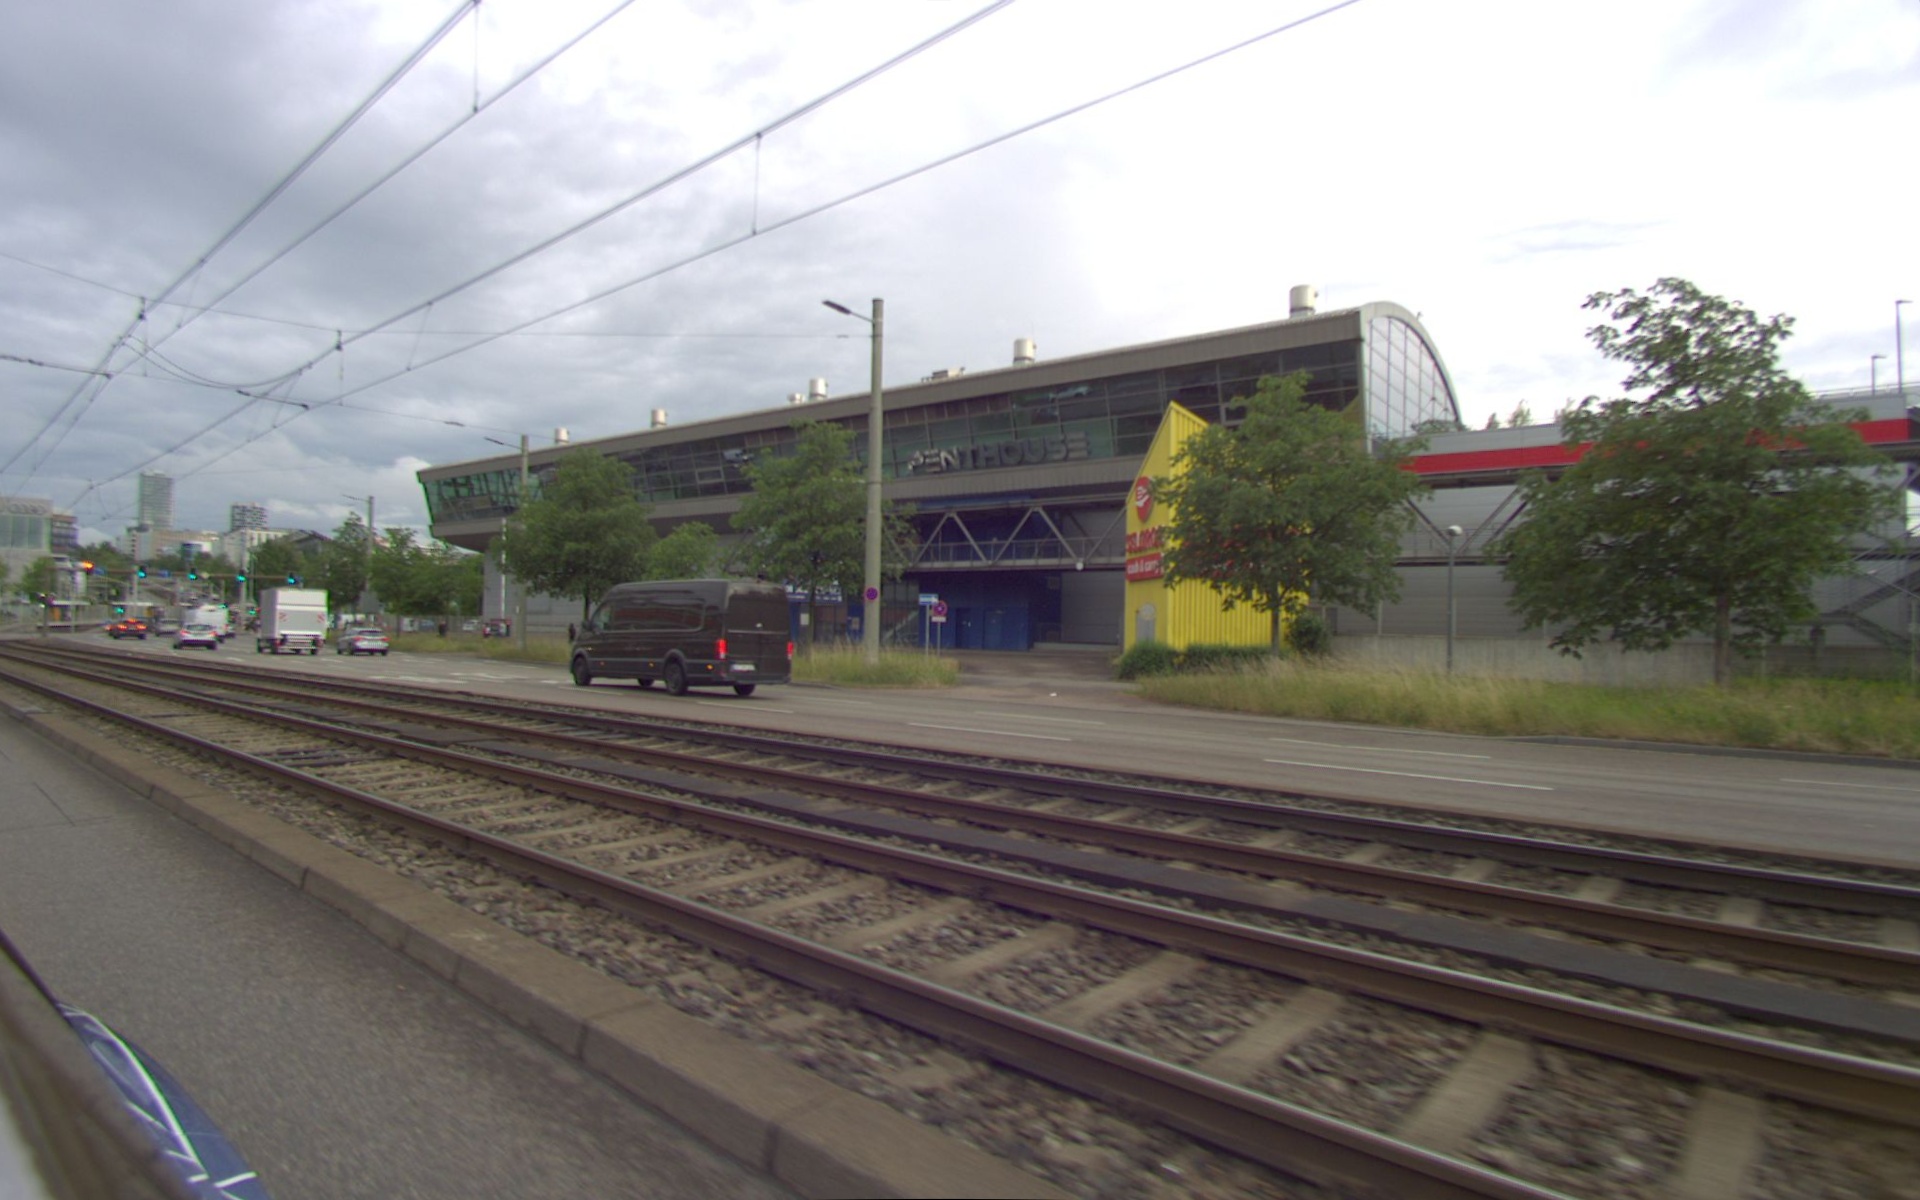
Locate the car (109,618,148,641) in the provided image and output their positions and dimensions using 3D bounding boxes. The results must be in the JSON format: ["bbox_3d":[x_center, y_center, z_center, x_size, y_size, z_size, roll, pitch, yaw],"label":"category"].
[{"bbox_3d":[-65.780,2.344,80.036,1.887,1.669,4.363,5,-4,-45],"label":"car"}]

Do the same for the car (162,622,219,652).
[{"bbox_3d":[-43.094,2.068,56.655,4.442,1.510,1.785,-1,-5,44],"label":"car"}]

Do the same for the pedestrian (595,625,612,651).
[{"bbox_3d":[-20.565,2.169,58.454,0.744,1.450,0.602,-1,0,38],"label":"pedestrian"}]

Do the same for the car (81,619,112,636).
[{"bbox_3d":[-91.463,2.914,107.151,4.679,1.744,1.971,-1,-3,44],"label":"car"}]

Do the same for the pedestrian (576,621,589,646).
[{"bbox_3d":[-23.009,2.041,61.647,0.651,1.467,0.447,-1,0,32],"label":"pedestrian"}]

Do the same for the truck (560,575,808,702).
[{"bbox_3d":[-6.698,0.876,23.857,7.014,2.584,2.214,-1,-4,43],"label":"truck"}]

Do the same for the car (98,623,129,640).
[{"bbox_3d":[-76.303,2.853,91.206,1.924,1.496,5.000,2,-3,-42],"label":"car"}]

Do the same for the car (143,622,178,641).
[{"bbox_3d":[-72.143,2.849,91.327,1.918,1.684,4.511,3,-3,-44],"label":"car"}]

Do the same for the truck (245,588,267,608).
[{"bbox_3d":[-153.088,-0.357,220.122,3.330,4.171,7.652,2,-2,-31],"label":"truck"}]

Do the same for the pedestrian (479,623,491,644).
[{"bbox_3d":[-35.078,2.474,74.742,0.542,1.509,0.758,-1,0,-45],"label":"pedestrian"}]

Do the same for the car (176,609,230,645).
[{"bbox_3d":[-57.195,2.051,76.398,2.404,2.519,6.553,4,-4,-44],"label":"car"}]

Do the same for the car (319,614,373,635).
[{"bbox_3d":[-70.772,2.797,116.752,1.989,2.350,5.020,0,-2,25],"label":"car"}]

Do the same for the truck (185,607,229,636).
[{"bbox_3d":[-101.790,2.944,136.700,4.028,3.785,10.871,2,-3,-40],"label":"truck"}]

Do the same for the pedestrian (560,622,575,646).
[{"bbox_3d":[-23.748,2.058,61.261,0.651,1.467,0.507,-1,0,32],"label":"pedestrian"}]

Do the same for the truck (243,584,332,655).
[{"bbox_3d":[-35.052,1.075,52.660,2.694,3.383,7.161,4,-4,-42],"label":"truck"}]

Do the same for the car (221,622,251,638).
[{"bbox_3d":[-64.727,2.653,90.401,1.726,1.410,4.005,3,-3,-41],"label":"car"}]

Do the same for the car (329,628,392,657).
[{"bbox_3d":[-32.161,2.265,54.235,1.875,1.500,4.426,3,-3,-44],"label":"car"}]

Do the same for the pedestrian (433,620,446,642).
[{"bbox_3d":[-38.293,2.302,74.493,0.627,1.575,0.675,-1,0,42],"label":"pedestrian"}]

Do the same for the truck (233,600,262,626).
[{"bbox_3d":[-127.808,2.345,181.669,3.213,4.564,7.114,2,-2,-28],"label":"truck"}]

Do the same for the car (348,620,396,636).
[{"bbox_3d":[-66.709,3.157,114.844,1.908,1.729,4.204,-1,-2,35],"label":"car"}]
